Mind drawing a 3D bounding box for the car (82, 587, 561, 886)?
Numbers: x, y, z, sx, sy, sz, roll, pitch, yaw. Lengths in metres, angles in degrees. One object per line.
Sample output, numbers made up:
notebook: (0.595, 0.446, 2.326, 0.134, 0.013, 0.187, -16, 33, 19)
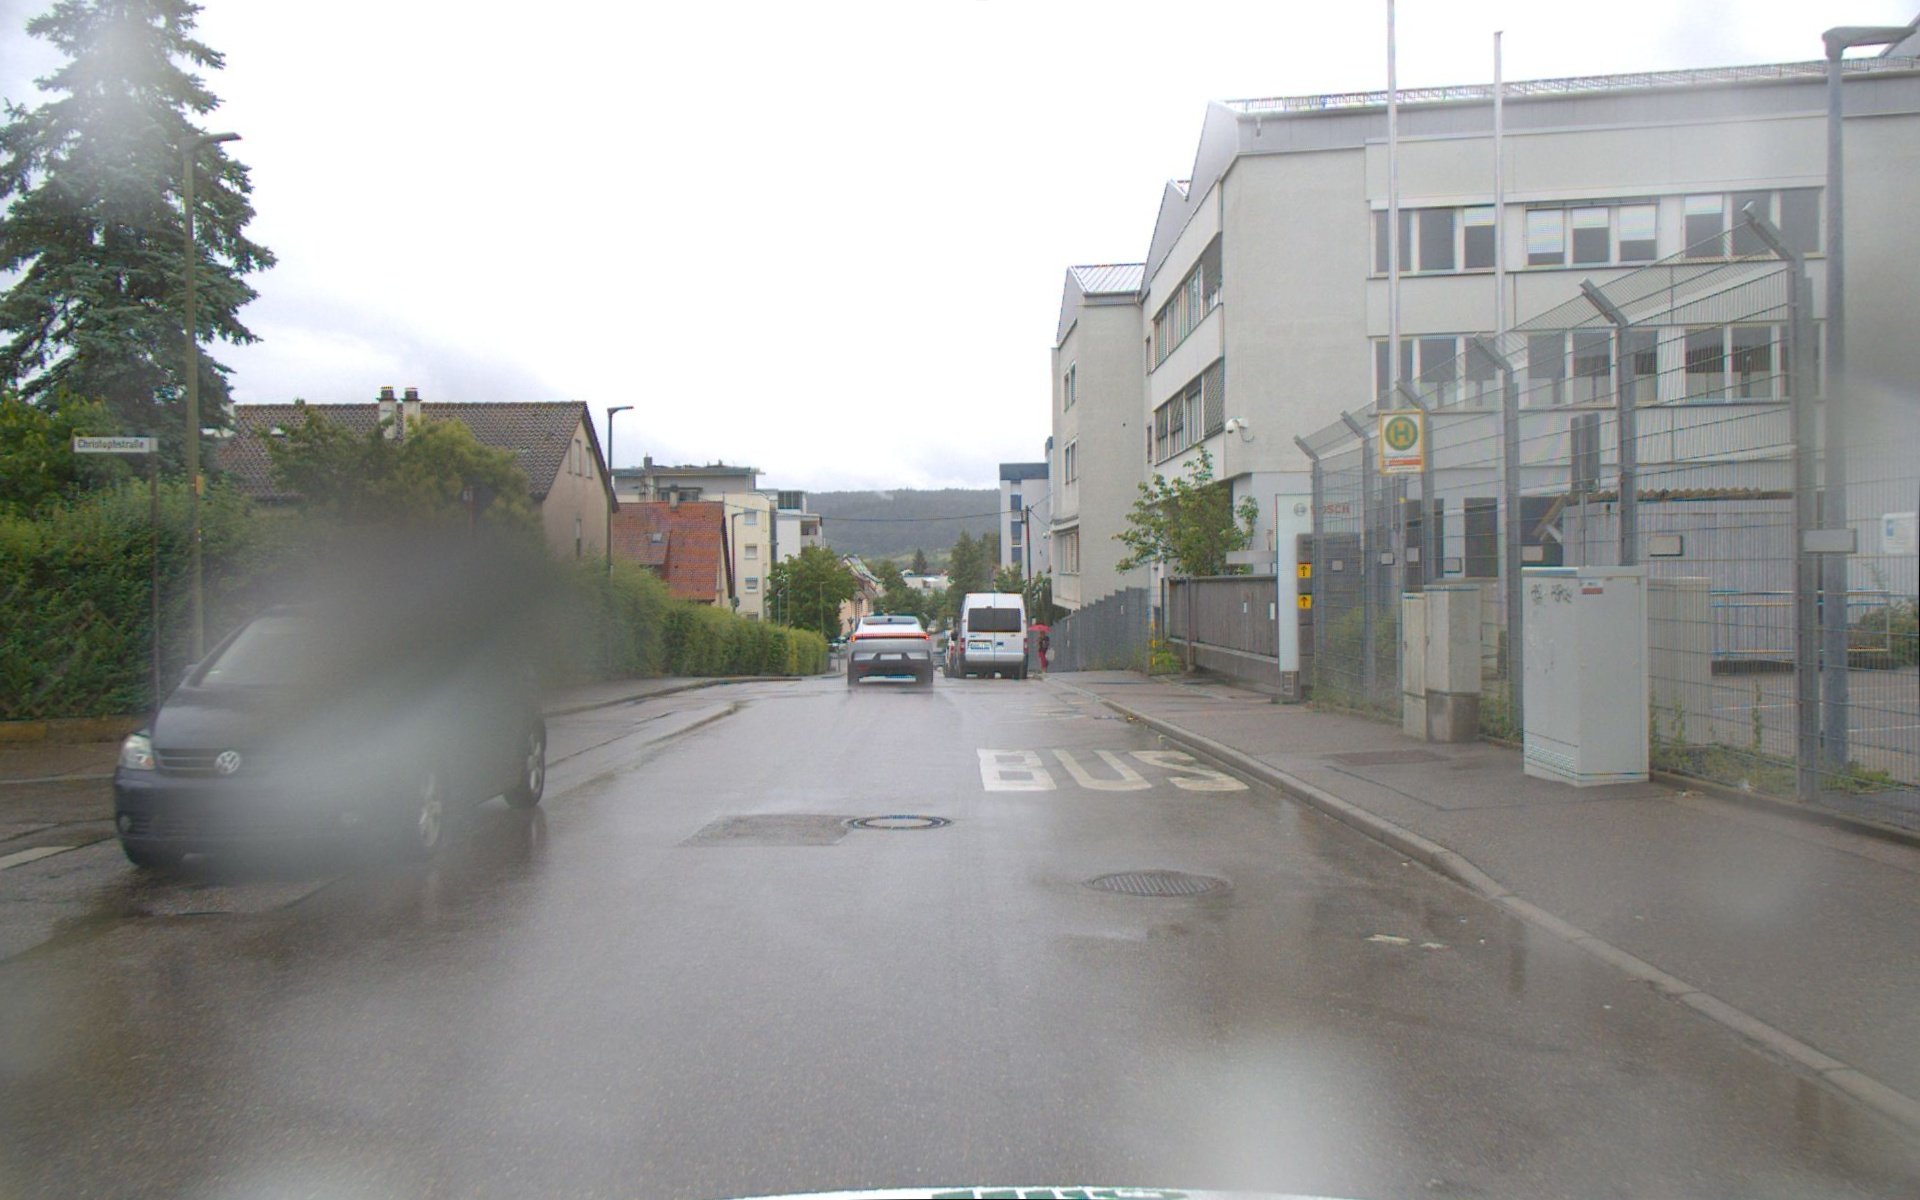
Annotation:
car: (-3.863, 0.707, 10.772, 1.642, 1.554, 3.999, -1, 0, -2)

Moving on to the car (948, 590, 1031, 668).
car: (0.783, 0.832, 46.901, 1.954, 2.049, 3.996, -2, -1, -4)

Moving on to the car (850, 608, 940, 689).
car: (-1.546, 1.065, 38.448, 1.954, 1.528, 4.668, -1, 2, -3)
